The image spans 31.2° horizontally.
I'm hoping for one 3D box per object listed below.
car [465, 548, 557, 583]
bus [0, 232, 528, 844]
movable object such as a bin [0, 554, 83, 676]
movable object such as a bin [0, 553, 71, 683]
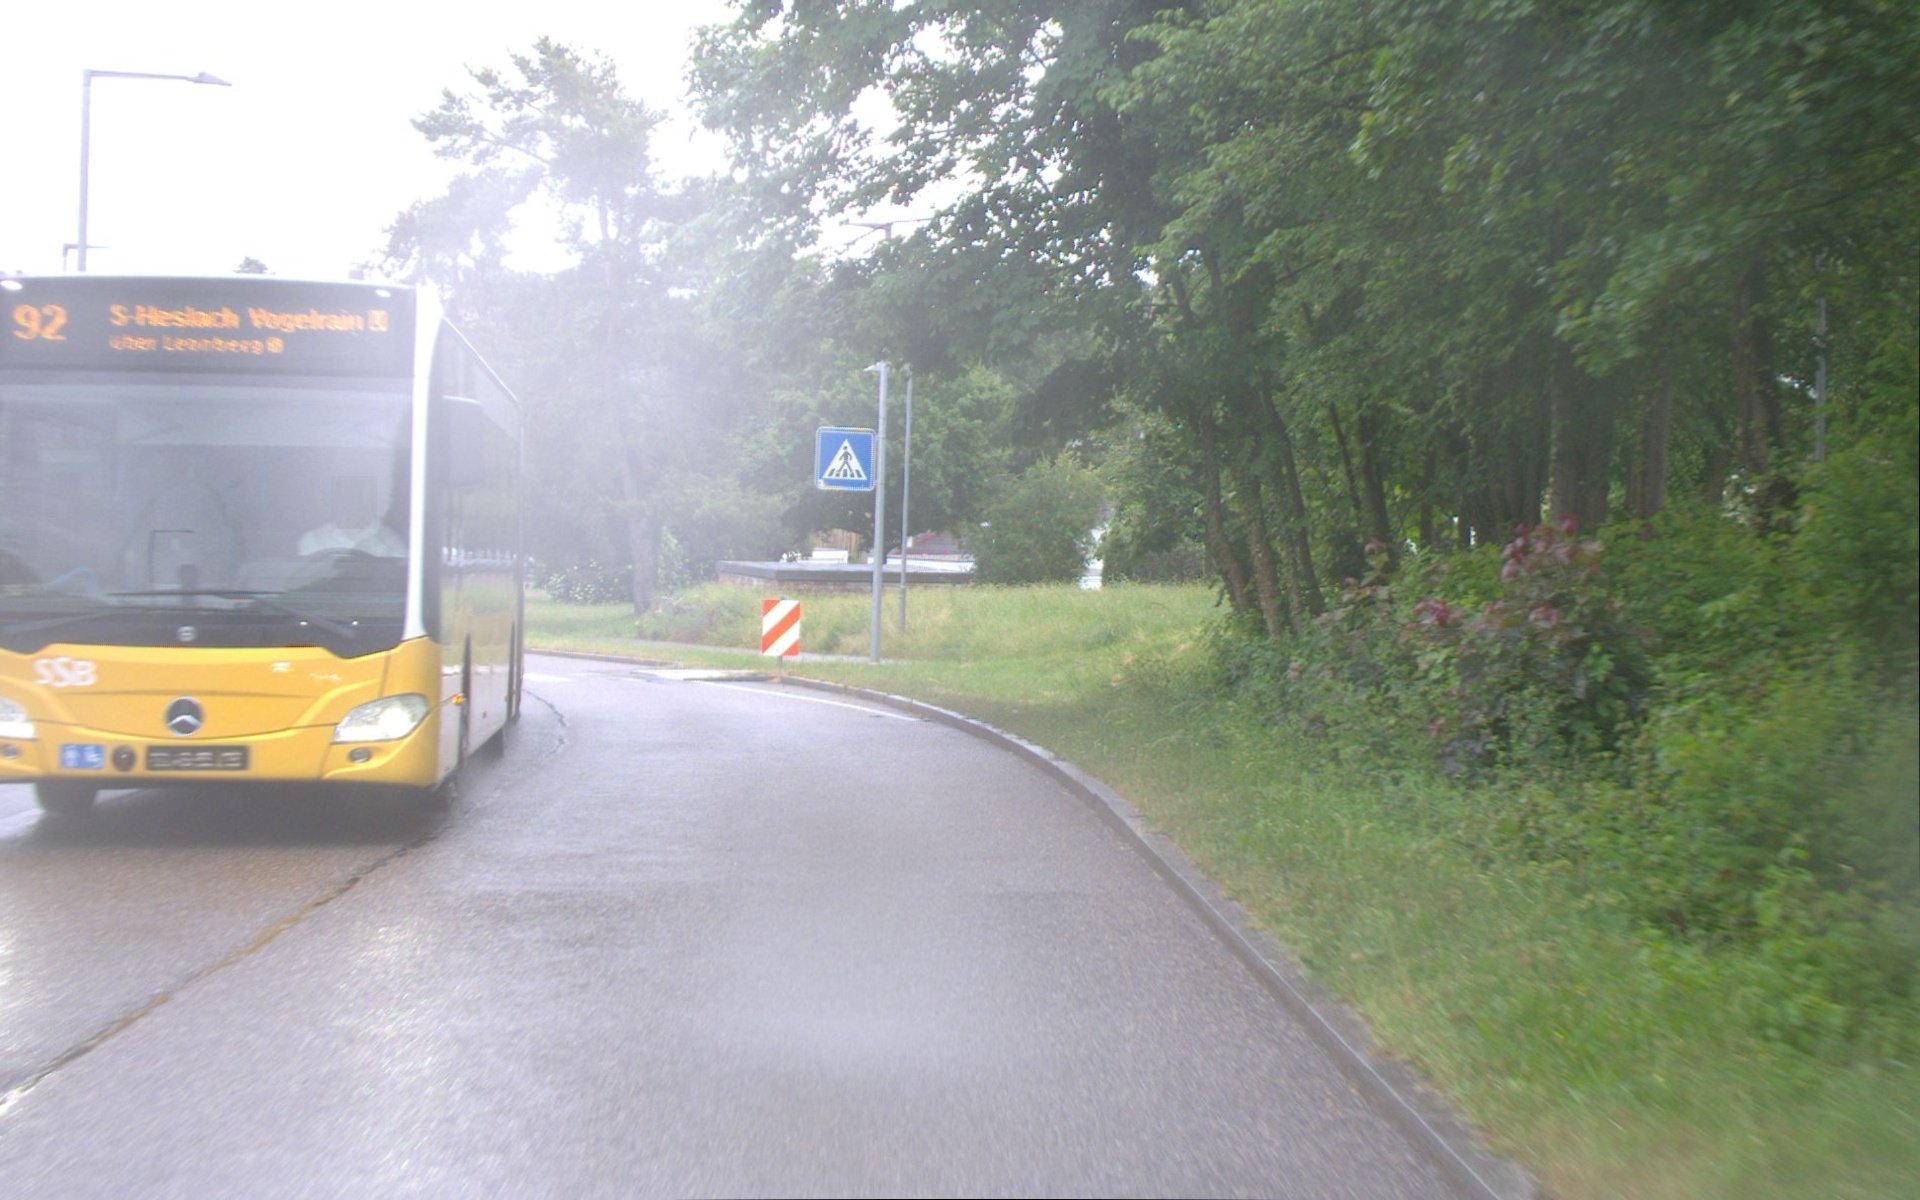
[{"bbox_3d":[-24.214,-1.856,185.441,4.549,1.744,1.910,-2,1,24],"label":"car"},{"bbox_3d":[-4.368,-0.351,22.665,2.639,3.057,10.857,0,0,-5],"label":"bus"},{"bbox_3d":[-10.665,0.153,39.193,1.131,1.297,1.399,4,0,-11],"label":"movable object such as a bin"},{"bbox_3d":[-10.252,0.170,37.060,1.131,1.335,1.399,4,0,-11],"label":"movable object such as a bin"}]
